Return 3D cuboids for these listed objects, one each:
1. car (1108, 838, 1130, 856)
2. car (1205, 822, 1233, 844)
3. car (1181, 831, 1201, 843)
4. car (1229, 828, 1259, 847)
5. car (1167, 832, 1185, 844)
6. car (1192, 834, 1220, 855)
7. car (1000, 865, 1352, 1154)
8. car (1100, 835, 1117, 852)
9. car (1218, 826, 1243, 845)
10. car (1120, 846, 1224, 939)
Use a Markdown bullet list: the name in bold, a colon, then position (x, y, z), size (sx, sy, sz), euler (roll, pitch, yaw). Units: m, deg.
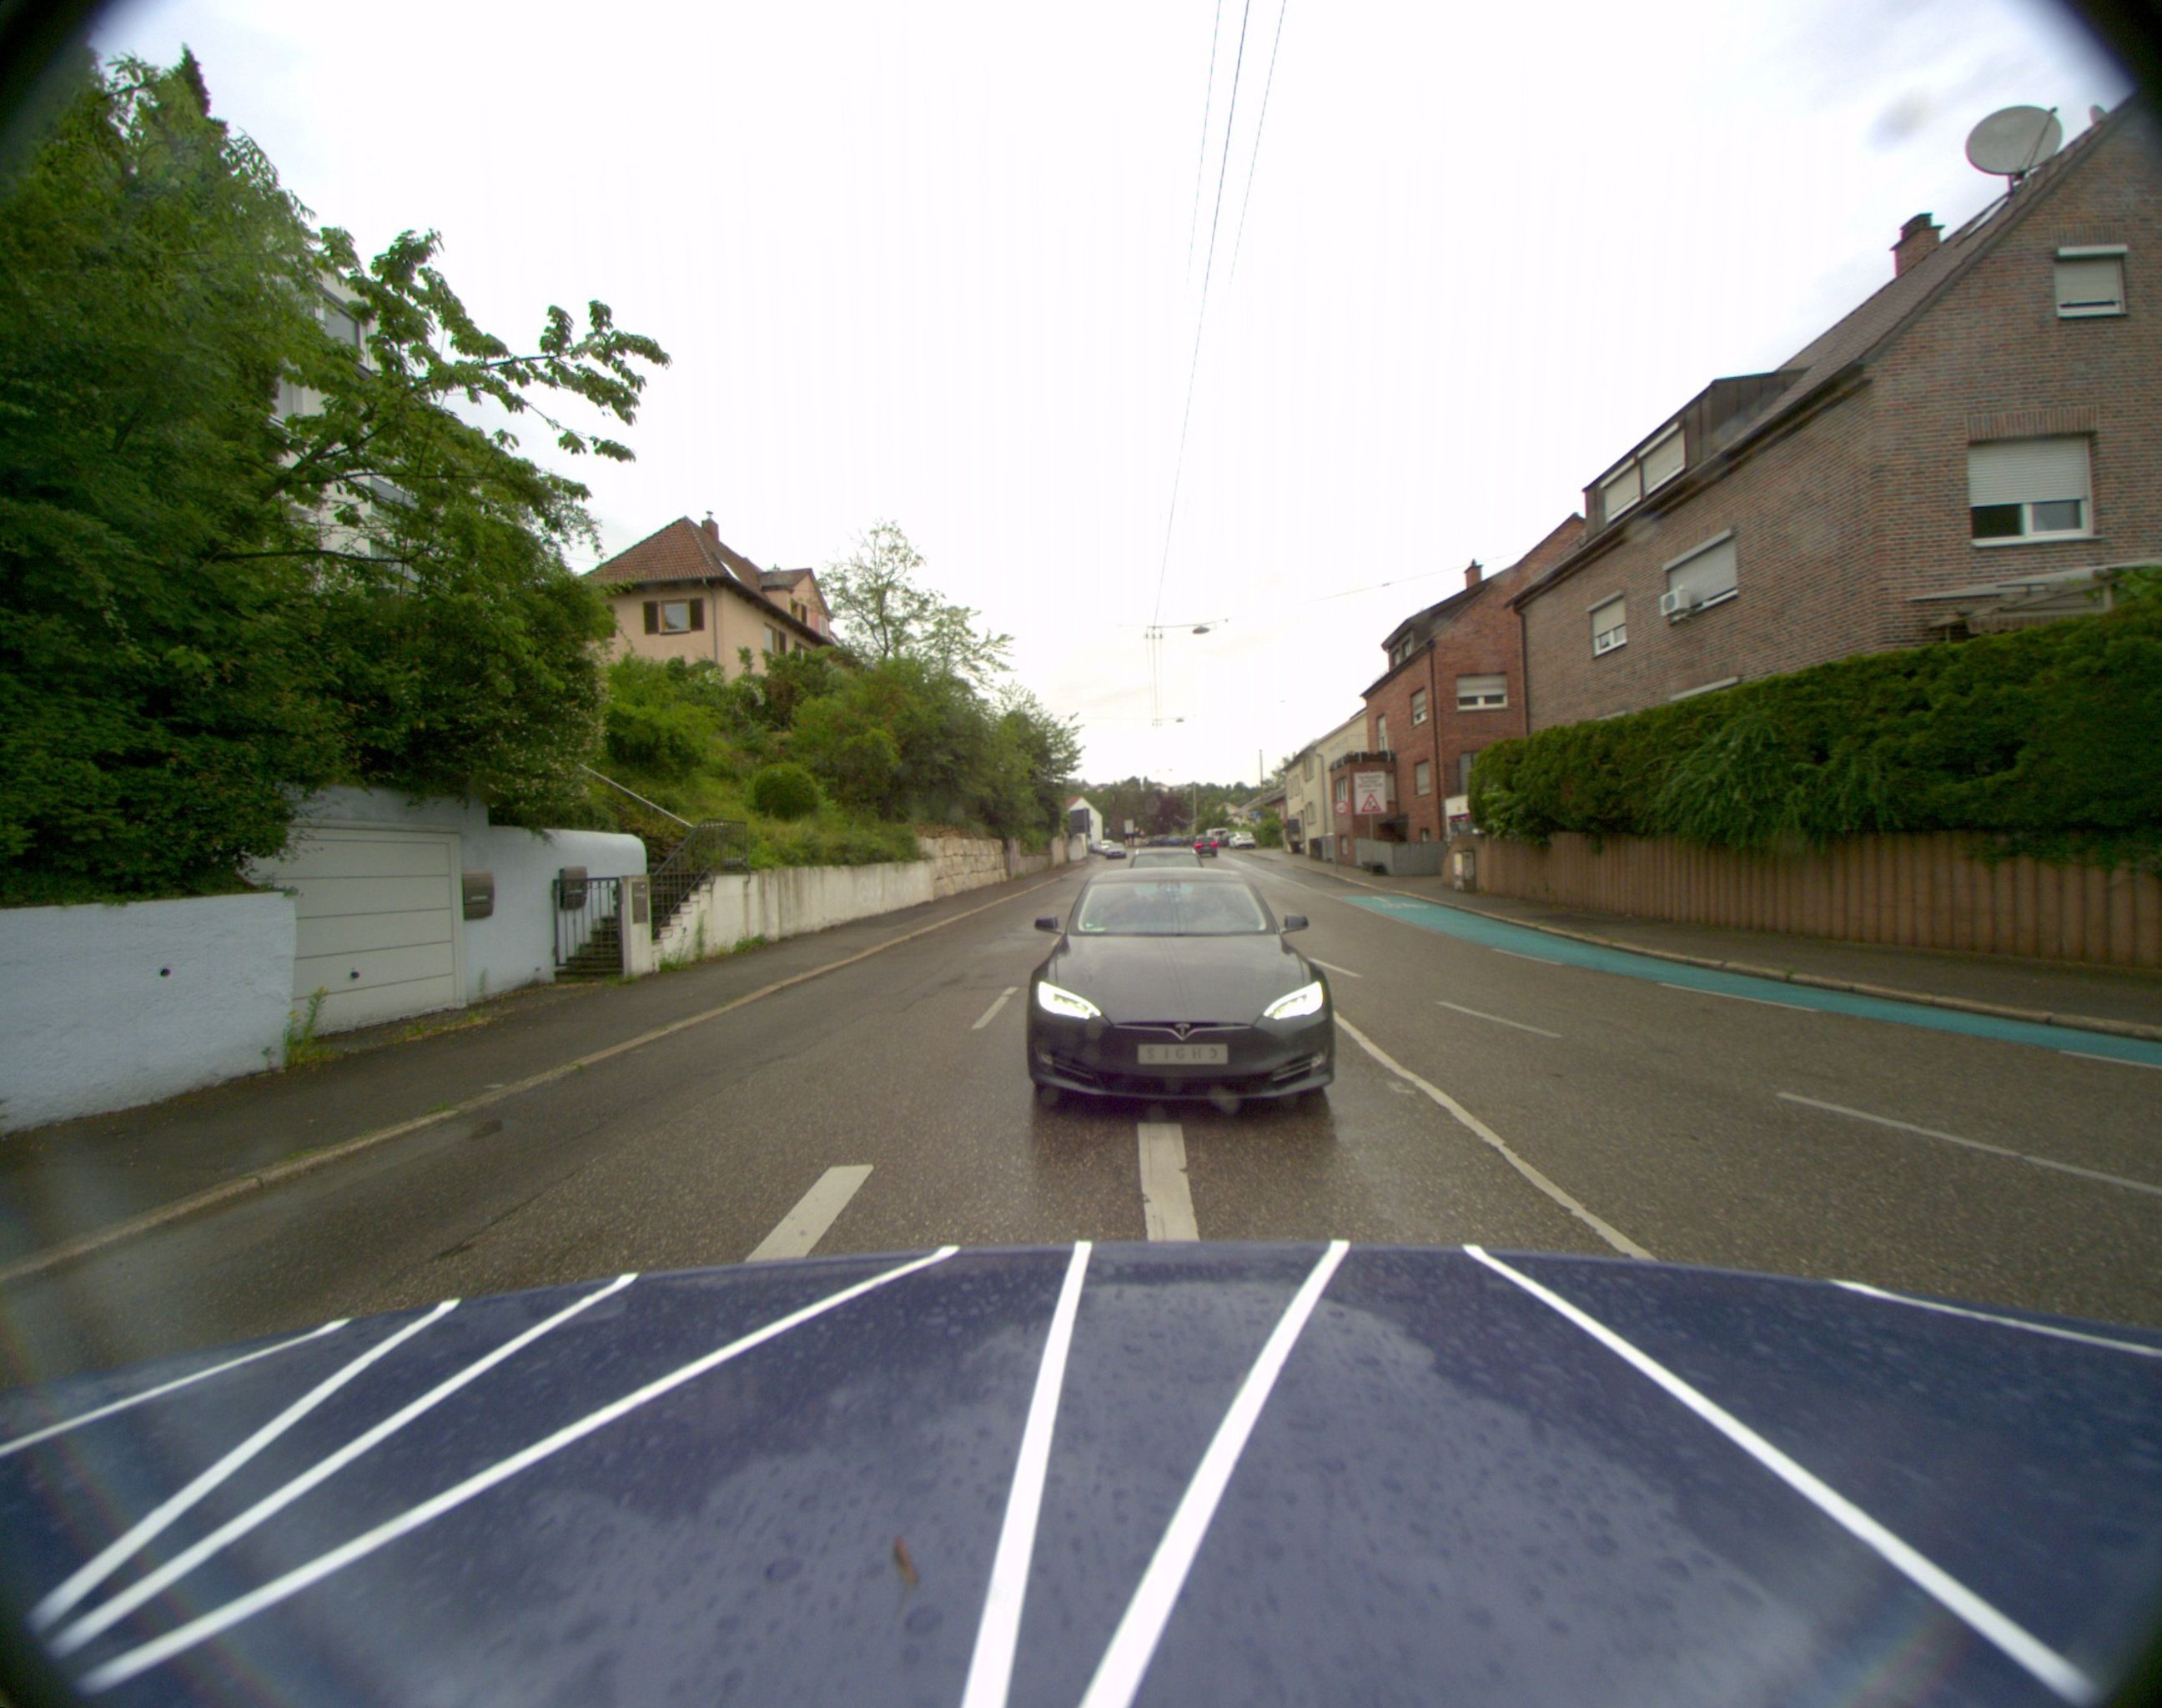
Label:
- **car**: position (3.661, -0.672, 73.184), size (2.002, 1.596, 4.360), euler (-2, -1, 4)
- **car**: position (15.631, -2.345, 86.153), size (2.257, 2.273, 4.546), euler (-4, 1, 0)
- **car**: position (14.089, -2.132, 97.535), size (1.654, 1.388, 3.859), euler (-4, 1, -4)
- **car**: position (15.371, -1.564, 71.976), size (1.946, 1.557, 4.263), euler (-4, 1, 2)
- **car**: position (12.776, -2.160, 102.551), size (1.624, 1.482, 3.901), euler (-4, 1, -4)
- **car**: position (10.070, -0.801, 61.462), size (1.853, 1.671, 4.172), euler (0, 2, 4)
- **car**: position (0.658, 0.891, 6.135), size (1.870, 1.407, 4.000), euler (-2, 1, 4)
- **car**: position (3.204, -1.286, 89.050), size (1.820, 1.855, 4.038), euler (-2, 2, -1)
- **car**: position (15.741, -1.916, 80.124), size (1.814, 1.793, 4.263), euler (-4, 1, 2)
- **car**: position (1.763, 0.670, 15.438), size (1.789, 1.580, 3.784), euler (-2, 1, 4)
